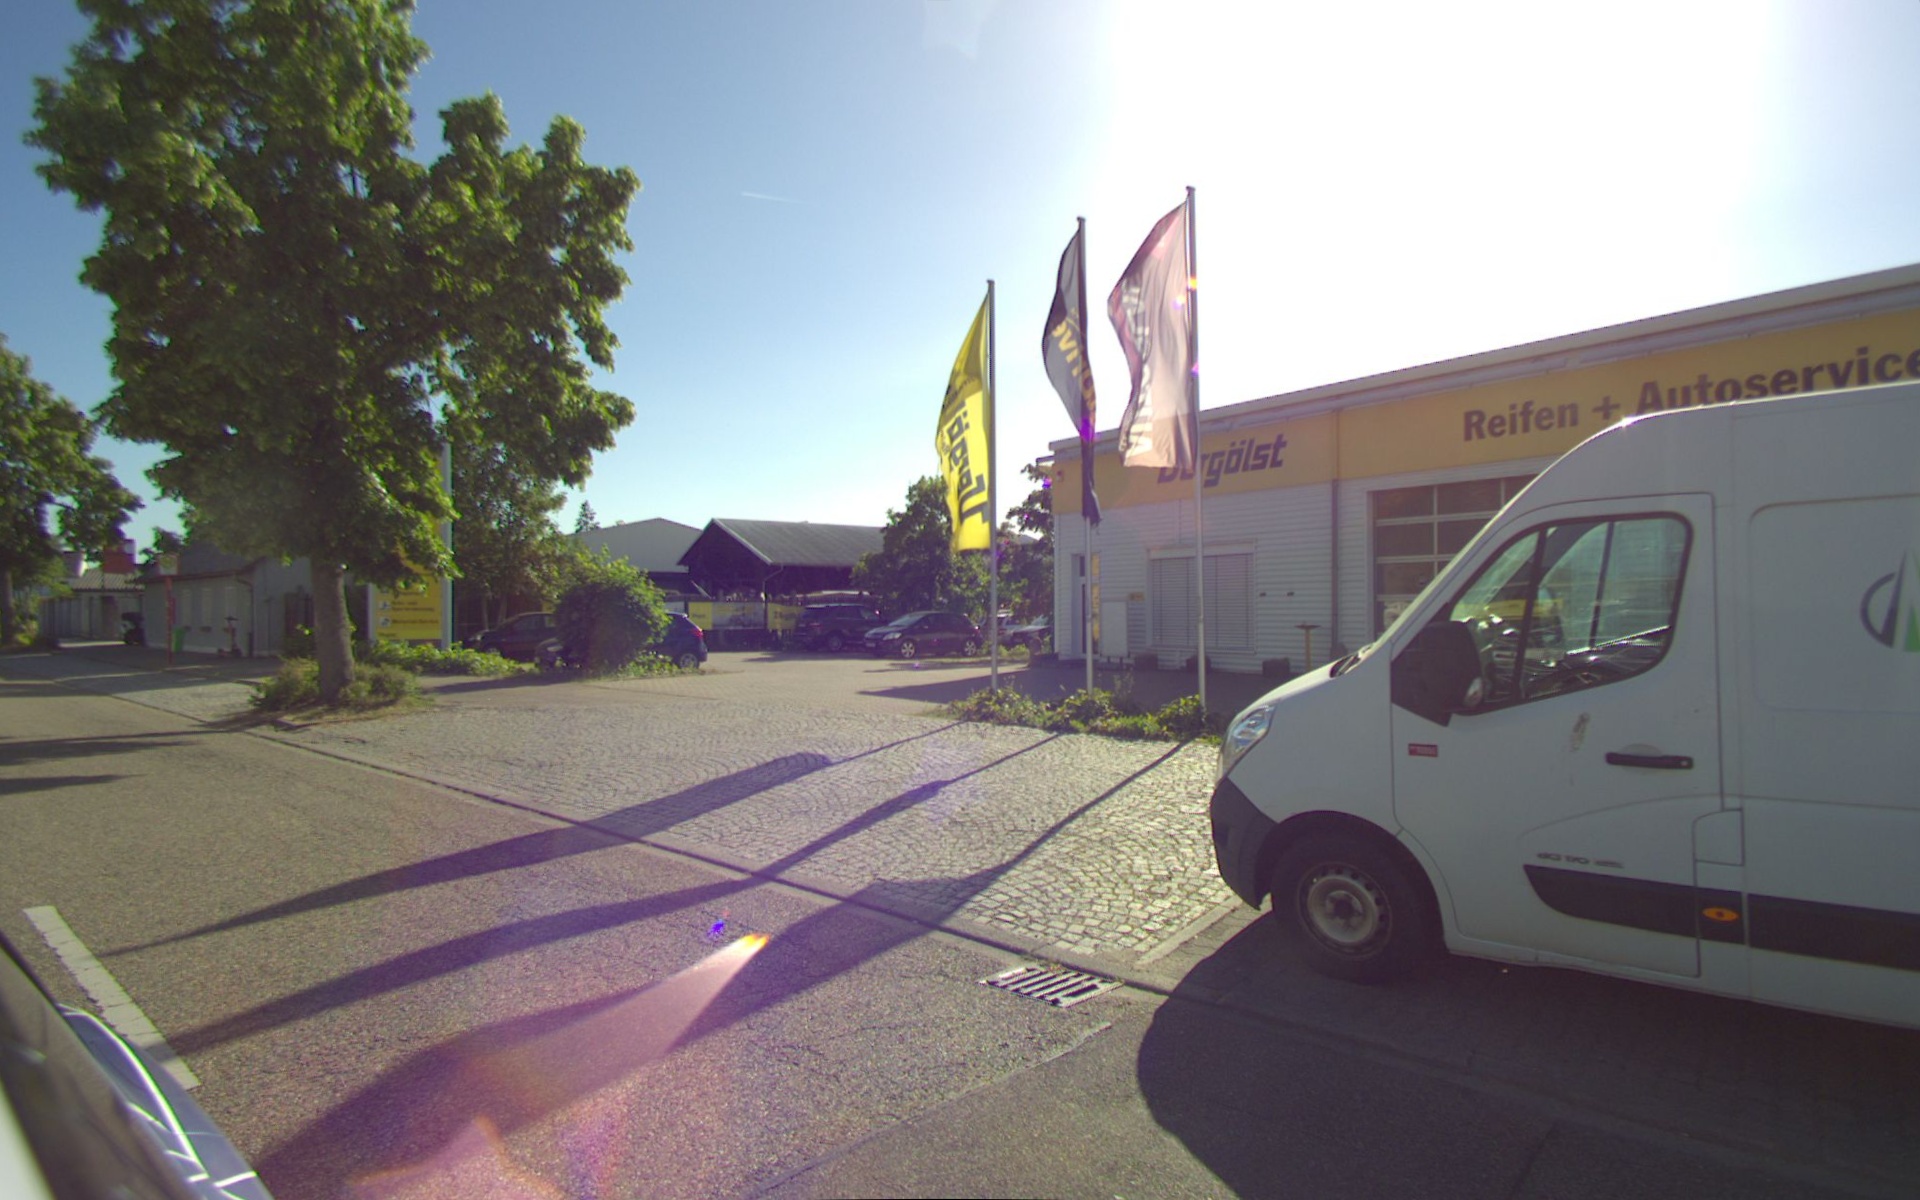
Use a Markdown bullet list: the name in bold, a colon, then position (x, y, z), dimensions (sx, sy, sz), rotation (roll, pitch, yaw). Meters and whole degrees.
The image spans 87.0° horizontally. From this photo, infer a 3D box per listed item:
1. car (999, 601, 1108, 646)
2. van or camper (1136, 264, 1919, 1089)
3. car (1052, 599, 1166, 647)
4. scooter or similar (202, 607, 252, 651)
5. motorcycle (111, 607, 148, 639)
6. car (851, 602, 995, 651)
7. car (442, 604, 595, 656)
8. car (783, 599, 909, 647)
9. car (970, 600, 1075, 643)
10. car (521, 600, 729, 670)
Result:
- **car**: position (3.616, 0.855, 38.756), dimensions (4.006, 1.650, 1.778), rotation (0, 0, -37)
- **van or camper**: position (3.988, 0.187, 3.612), dimensions (6.399, 2.568, 2.050), rotation (-1, 3, 41)
- **car**: position (5.378, 0.783, 36.423), dimensions (4.006, 1.650, 1.778), rotation (0, 0, -37)
- **scooter or similar**: position (-21.767, 0.846, 30.069), dimensions (1.568, 1.280, 0.479), rotation (0, 0, 24)
- **motorcycle**: position (-34.225, 0.927, 41.707), dimensions (2.537, 1.242, 0.692), rotation (0, 2, 40)
- **car**: position (-1.185, 0.825, 33.376), dimensions (4.386, 1.519, 2.004), rotation (0, 0, -37)
- **car**: position (-13.661, 0.883, 31.445), dimensions (4.011, 1.527, 1.775), rotation (0, 0, -44)
- **car**: position (-4.222, 0.817, 37.808), dimensions (4.262, 1.668, 2.004), rotation (0, 0, -37)
- **car**: position (2.522, 0.831, 40.397), dimensions (4.006, 1.650, 1.778), rotation (0, 0, -37)
- **car**: position (-7.876, 0.764, 23.928), dimensions (4.287, 1.519, 2.005), rotation (0, 0, -35)
